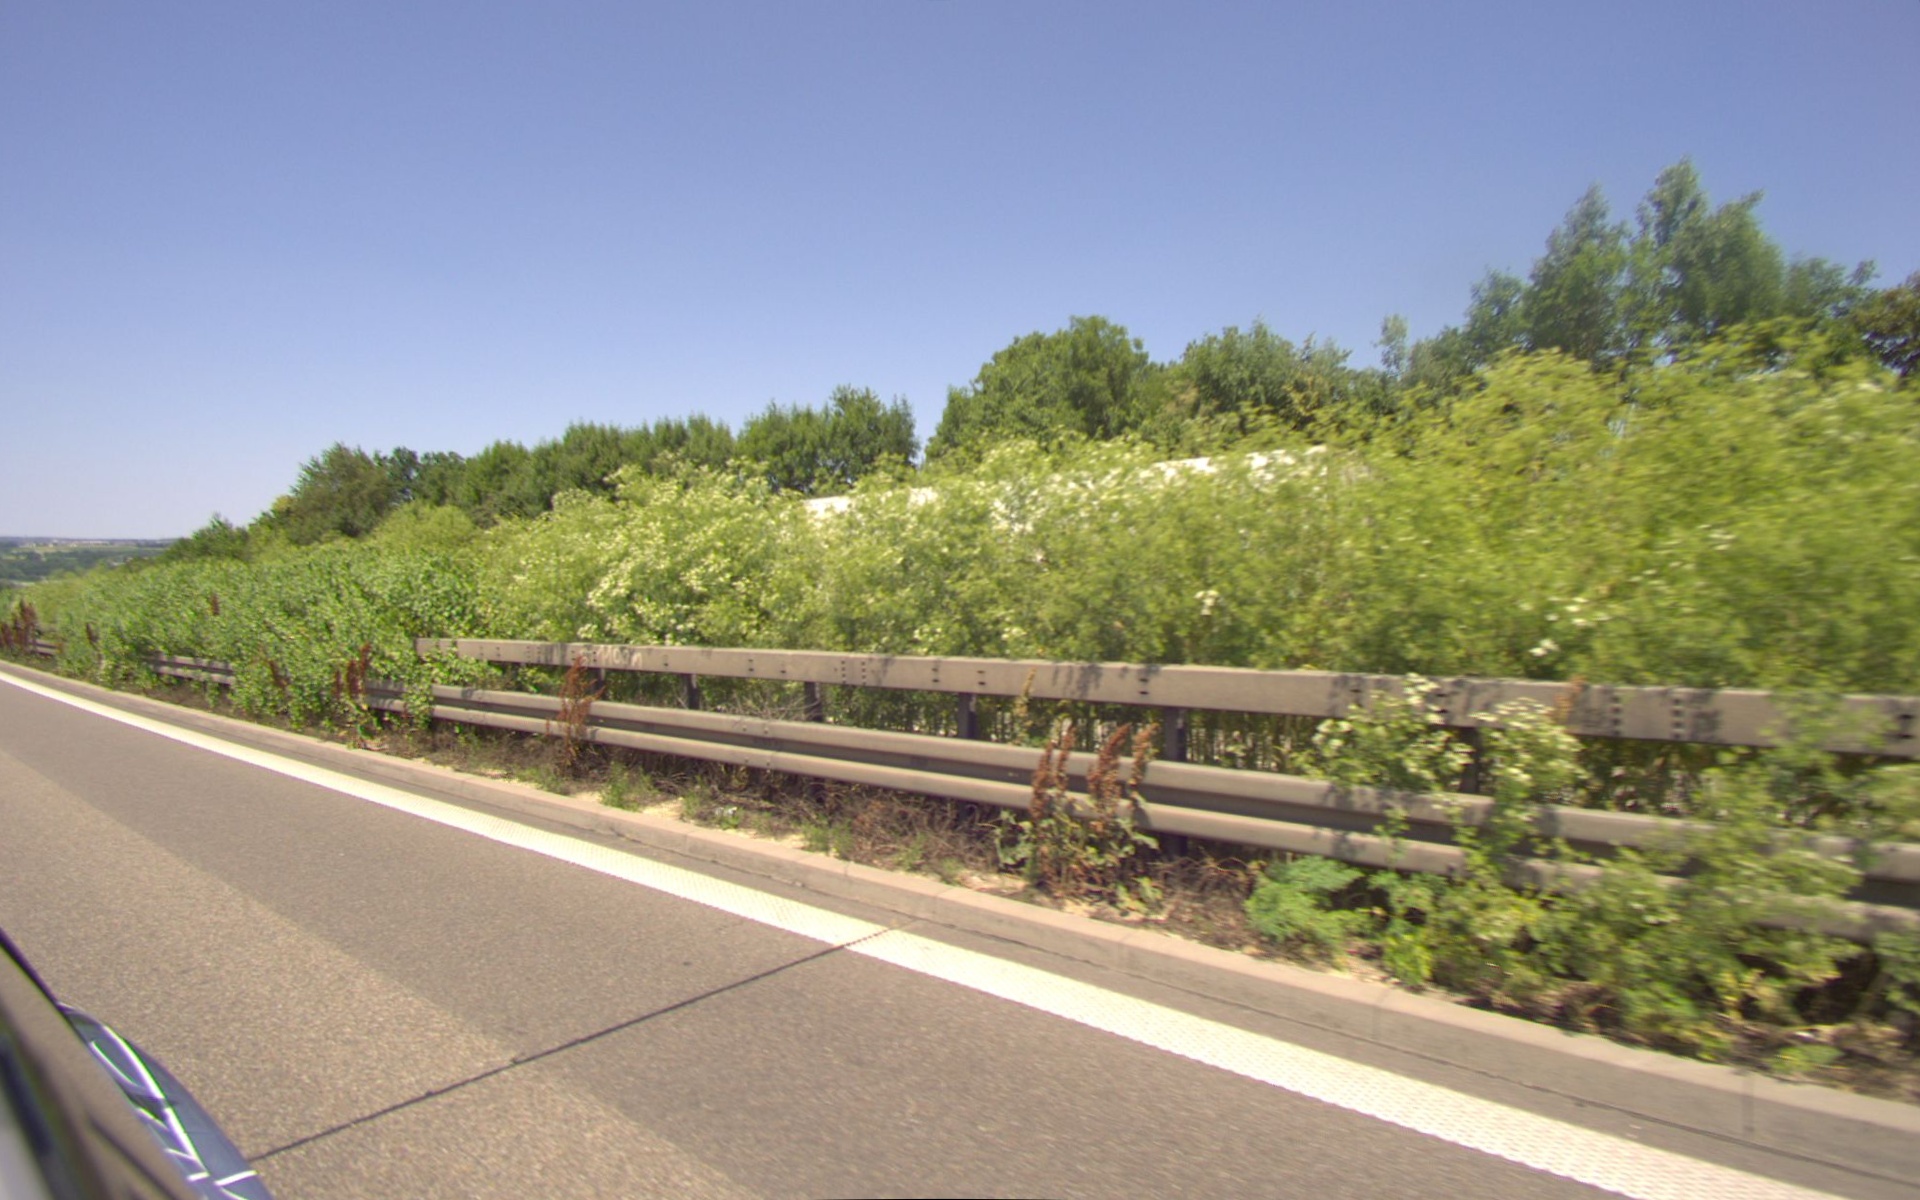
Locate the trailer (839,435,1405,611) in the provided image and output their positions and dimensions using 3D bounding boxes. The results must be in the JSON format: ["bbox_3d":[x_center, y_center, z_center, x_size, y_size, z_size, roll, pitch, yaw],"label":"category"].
[{"bbox_3d":[2.590,-1.203,21.441,12.307,2.822,2.646,-1,-1,41],"label":"trailer"}]

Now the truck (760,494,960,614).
[{"bbox_3d":[-2.624,-1.041,25.975,4.642,2.769,2.661,-1,-1,40],"label":"truck"}]
